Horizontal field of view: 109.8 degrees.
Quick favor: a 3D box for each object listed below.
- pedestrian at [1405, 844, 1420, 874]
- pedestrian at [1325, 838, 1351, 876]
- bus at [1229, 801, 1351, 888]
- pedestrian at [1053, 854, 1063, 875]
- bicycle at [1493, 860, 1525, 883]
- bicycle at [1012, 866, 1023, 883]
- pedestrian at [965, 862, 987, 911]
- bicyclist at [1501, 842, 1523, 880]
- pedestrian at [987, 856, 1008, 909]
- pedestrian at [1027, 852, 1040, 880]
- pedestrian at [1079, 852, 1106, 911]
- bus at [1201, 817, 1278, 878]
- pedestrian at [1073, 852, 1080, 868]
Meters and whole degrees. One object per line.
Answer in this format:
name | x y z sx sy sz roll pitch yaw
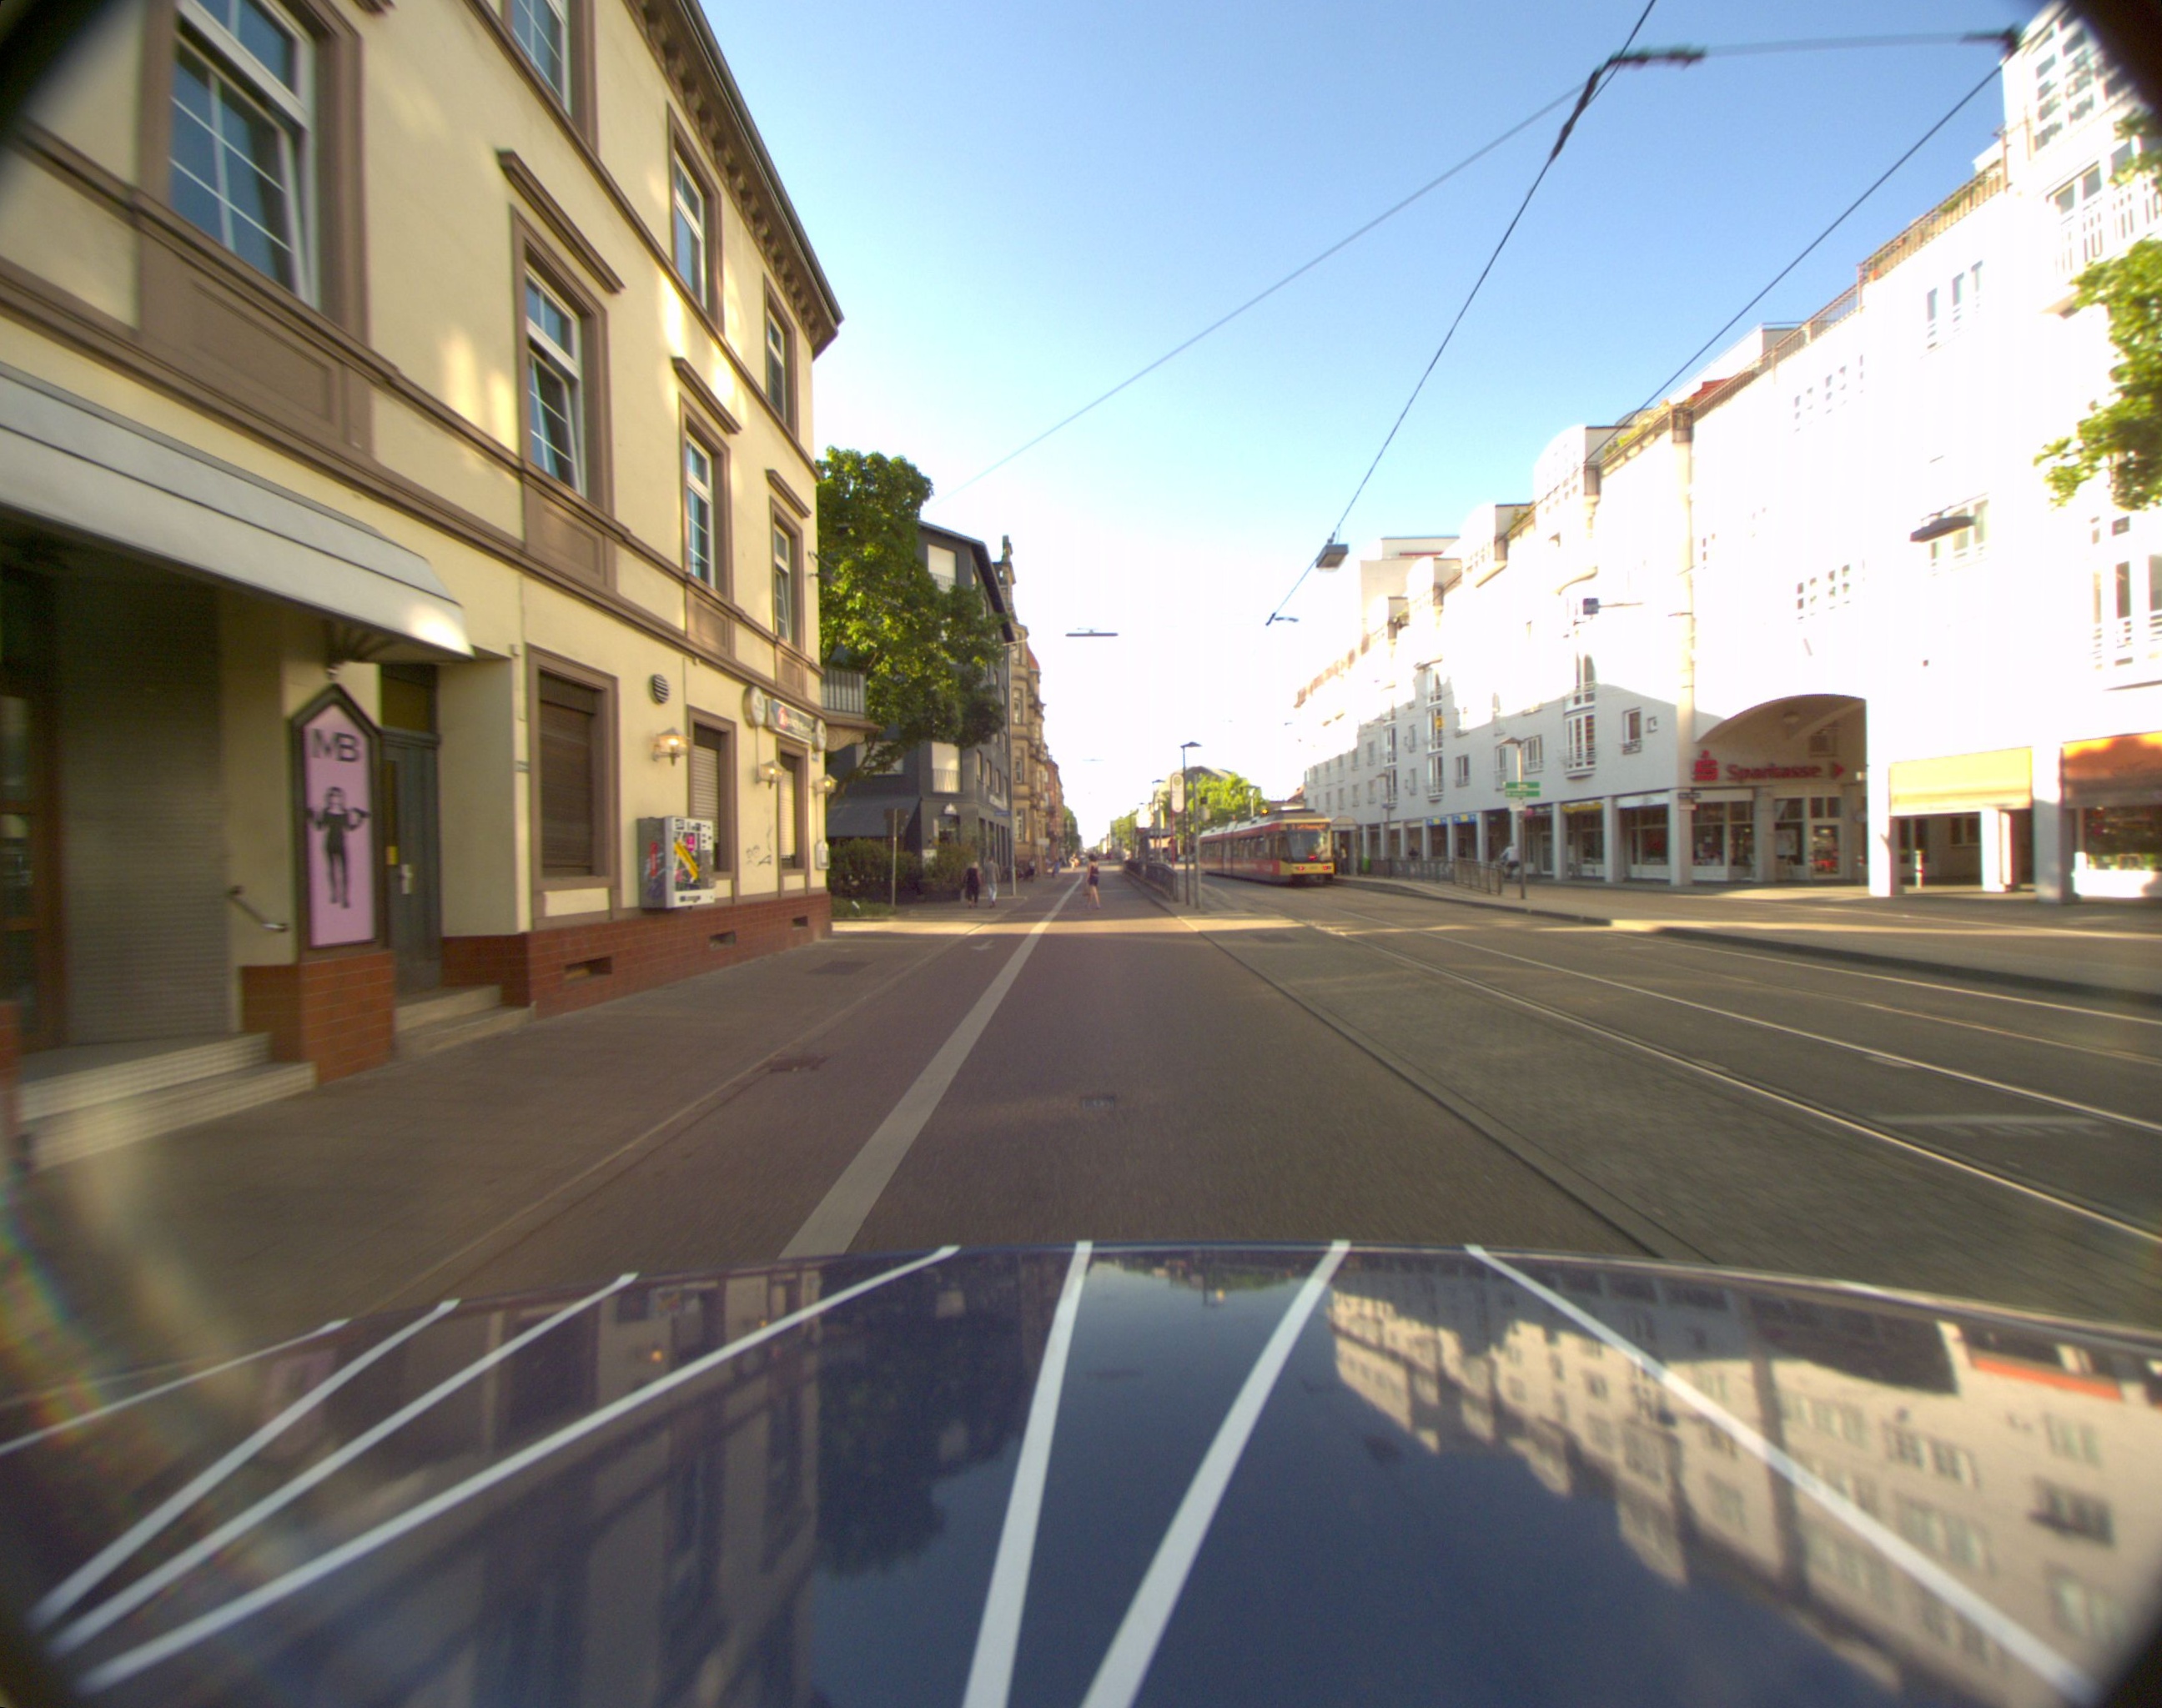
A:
pedestrian | 19.284 0.297 44.184 0.533 1.706 0.706 -1 1 3
pedestrian | 12.469 0.157 36.901 0.918 1.822 0.978 -1 1 3
bus | 10.026 -0.425 38.465 2.818 3.547 13.679 -1 0 2
pedestrian | -1.887 0.856 62.286 0.694 1.760 0.697 -1 1 6
bicycle | 19.829 0.785 35.207 0.518 0.983 1.727 -3 0 2
bicycle | -3.830 1.222 45.668 0.389 0.907 1.851 -3 0 2
pedestrian | -3.487 1.057 25.196 0.651 1.569 0.682 -1 1 -6
bicyclist | 19.795 0.329 34.915 0.514 1.690 0.807 -3 1 2
pedestrian | -2.770 0.943 25.311 0.651 1.706 0.805 -1 1 -6
pedestrian | -2.950 0.755 47.428 0.650 1.760 0.697 -1 1 6
pedestrian | 0.363 0.829 23.452 0.761 1.789 0.808 -1 1 3
bus | 10.510 -0.385 51.943 2.818 3.547 13.680 -1 0 2
pedestrian | -0.522 0.659 85.652 0.694 1.760 0.697 -1 1 6
